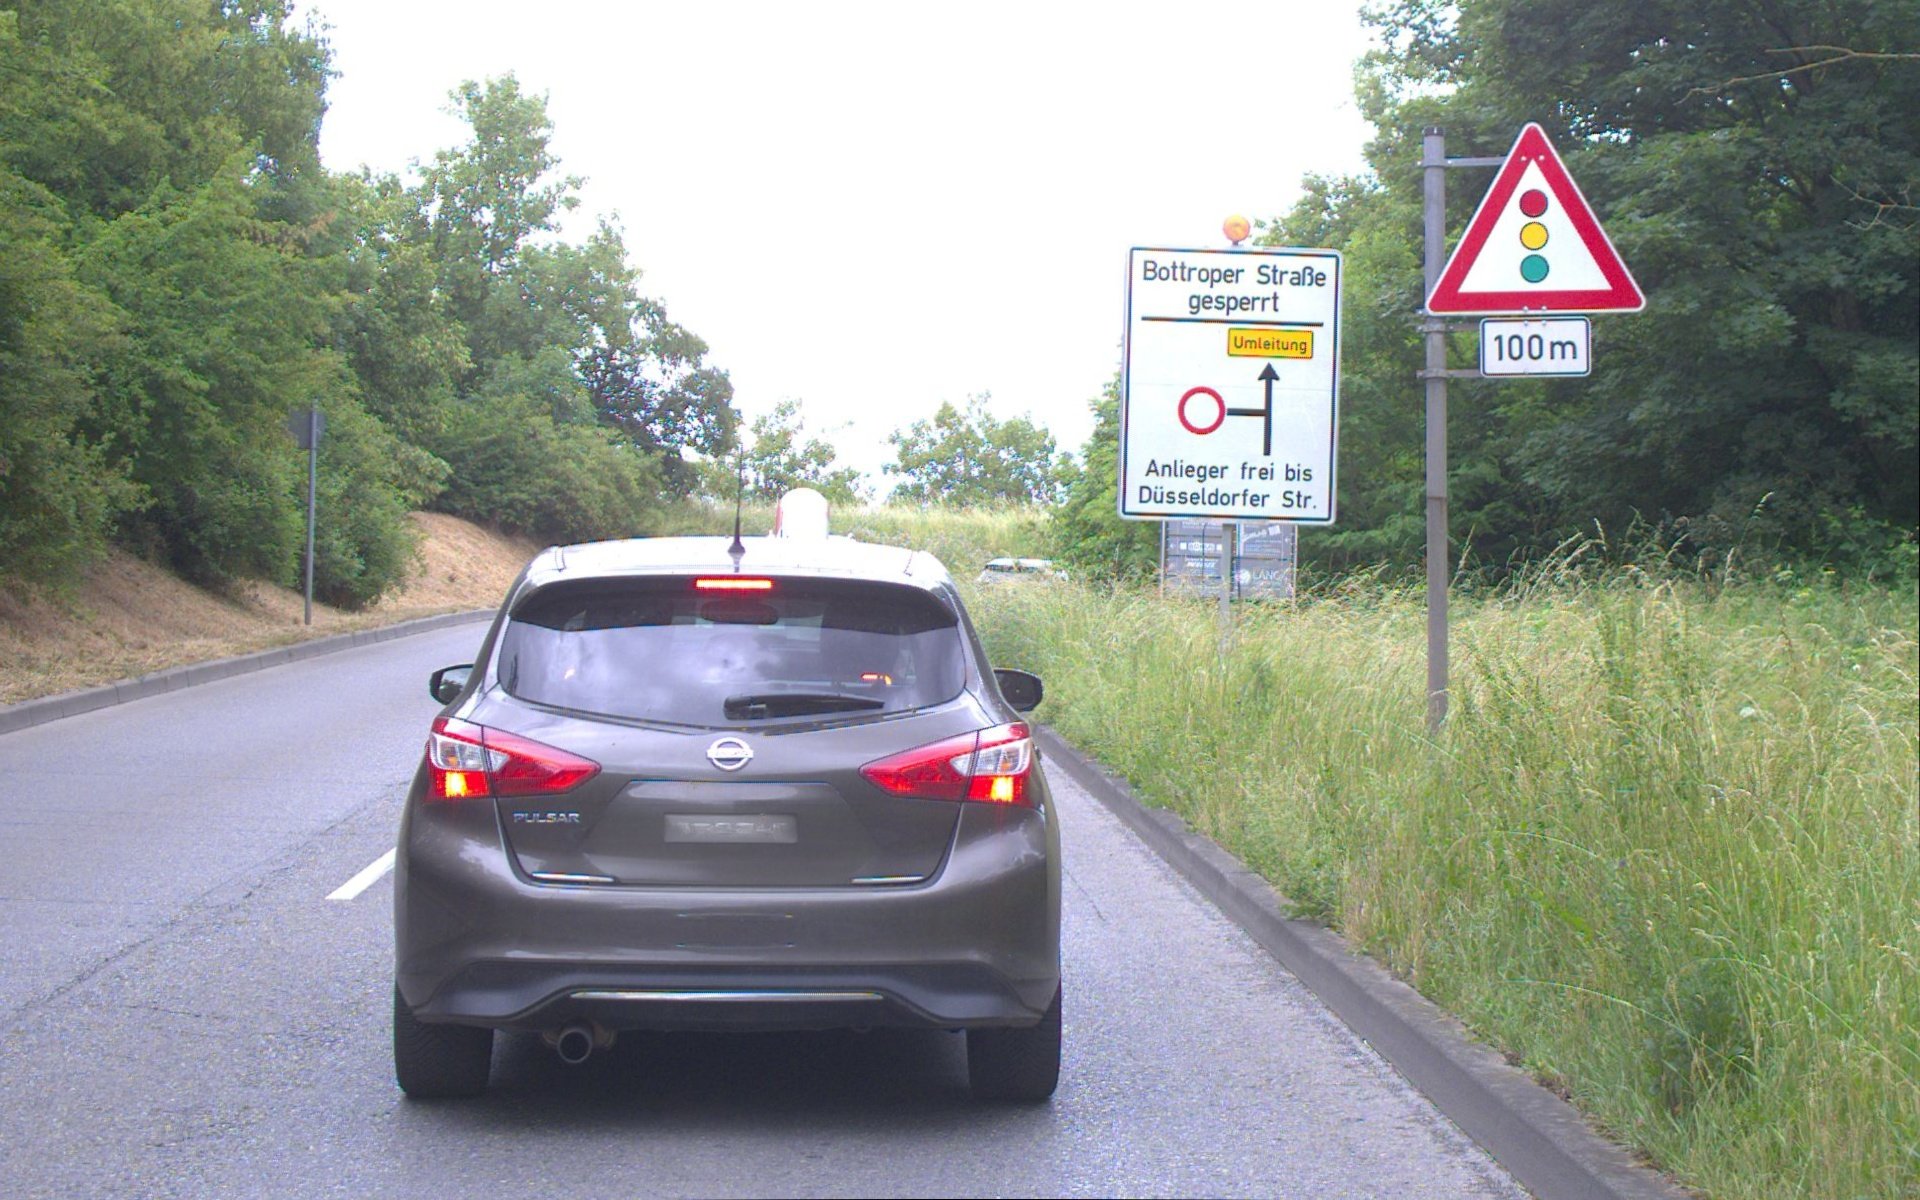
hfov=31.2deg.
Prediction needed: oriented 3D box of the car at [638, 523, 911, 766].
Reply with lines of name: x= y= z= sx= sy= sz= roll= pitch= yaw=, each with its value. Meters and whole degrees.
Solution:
car: x=-1.227 y=0.250 z=23.732 sx=1.736 sy=1.551 sz=3.544 roll=0 pitch=1 yaw=-1

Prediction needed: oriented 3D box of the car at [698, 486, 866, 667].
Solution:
car: x=-1.949 y=-0.285 z=38.511 sx=1.736 sy=1.928 sz=3.544 roll=0 pitch=1 yaw=-1

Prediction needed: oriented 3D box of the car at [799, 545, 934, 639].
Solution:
car: x=-1.551 y=-0.164 z=58.309 sx=1.736 sy=1.521 sz=3.640 roll=0 pitch=1 yaw=7

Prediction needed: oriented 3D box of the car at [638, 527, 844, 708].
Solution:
car: x=-1.946 y=0.115 z=31.402 sx=1.736 sy=1.551 sz=3.544 roll=0 pitch=1 yaw=-1

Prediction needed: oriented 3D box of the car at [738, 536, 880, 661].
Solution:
car: x=-1.932 y=-0.052 z=44.048 sx=1.736 sy=1.521 sz=3.544 roll=0 pitch=1 yaw=-3

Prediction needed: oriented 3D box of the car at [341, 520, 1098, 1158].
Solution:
car: x=-0.685 y=0.558 z=10.161 sx=1.830 sy=1.551 sz=3.500 roll=1 pitch=1 yaw=-3

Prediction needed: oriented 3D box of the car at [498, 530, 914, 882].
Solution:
car: x=-1.164 y=0.432 z=17.023 sx=1.830 sy=1.551 sz=3.625 roll=0 pitch=1 yaw=-1
